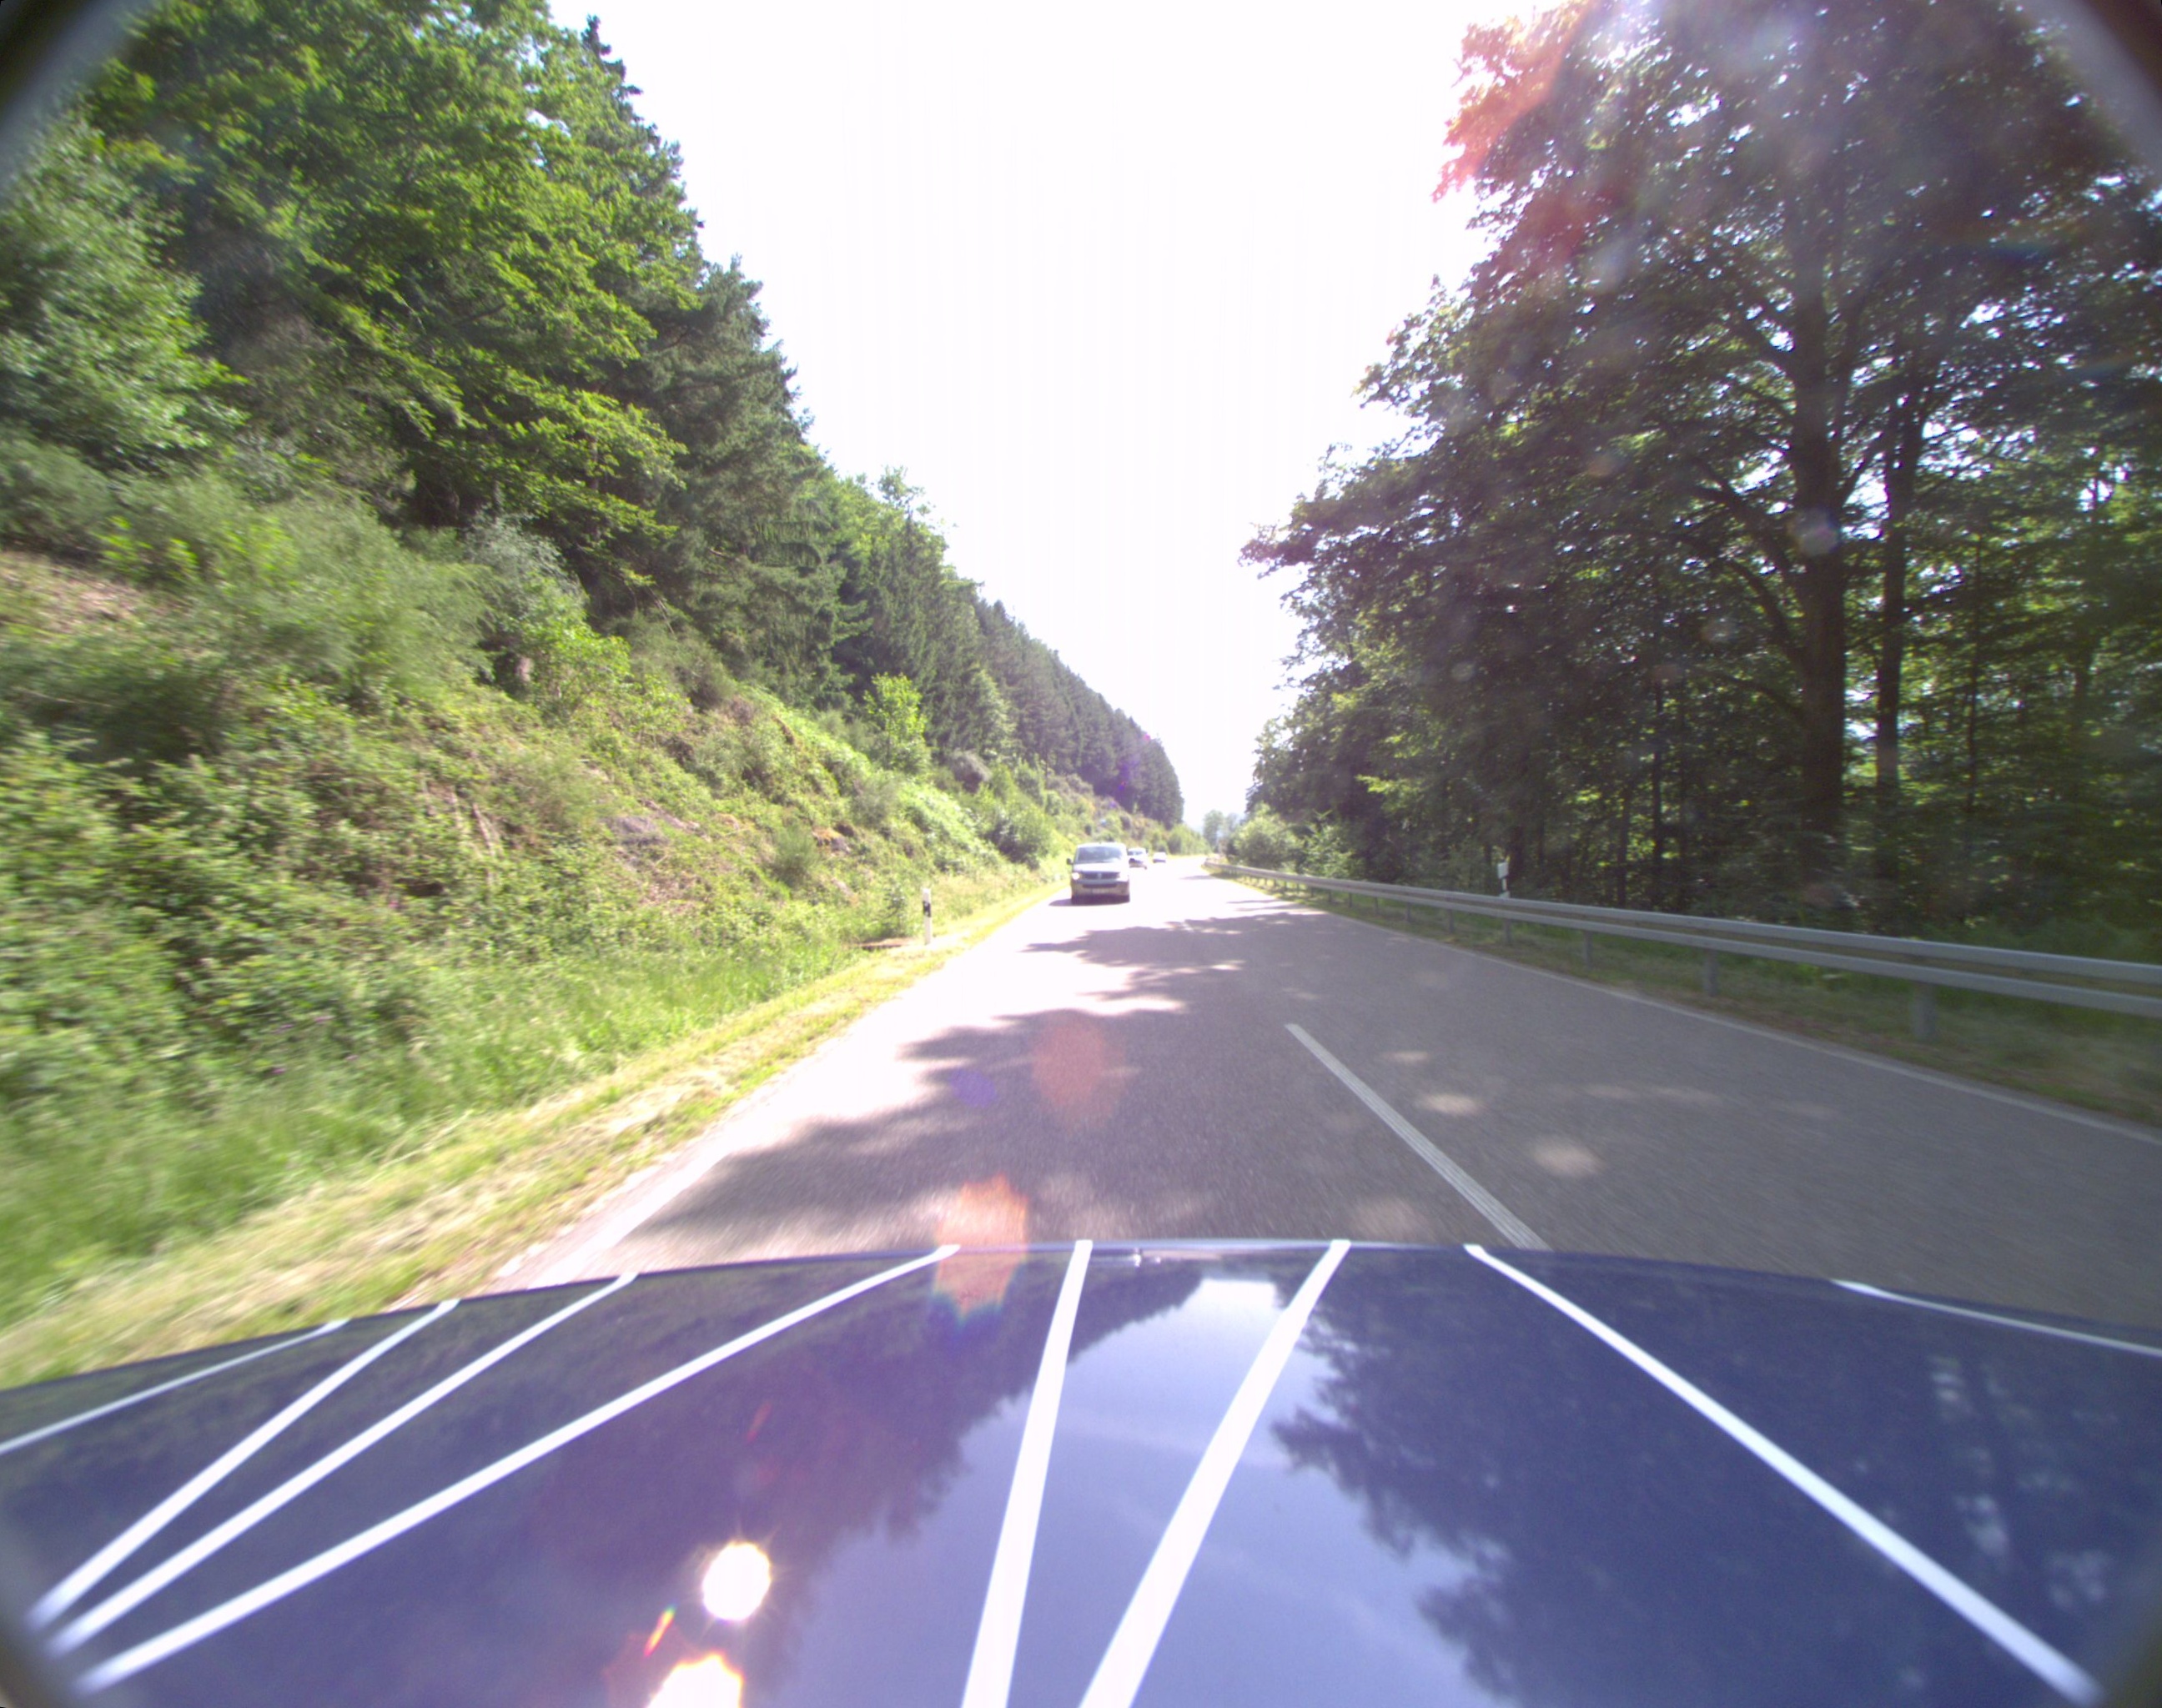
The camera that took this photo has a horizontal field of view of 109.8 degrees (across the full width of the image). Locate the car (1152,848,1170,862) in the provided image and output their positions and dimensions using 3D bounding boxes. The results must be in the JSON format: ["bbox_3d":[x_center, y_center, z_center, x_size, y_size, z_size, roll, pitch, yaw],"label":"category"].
[{"bbox_3d":[10.643,0.125,100.648,1.997,1.718,4.003,-1,0,10],"label":"car"}]

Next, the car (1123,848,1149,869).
[{"bbox_3d":[4.973,0.373,67.991,2.136,1.824,4.724,-1,0,6],"label":"car"}]

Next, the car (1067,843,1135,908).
[{"bbox_3d":[0.701,0.634,25.434,1.990,1.899,4.760,-2,1,2],"label":"car"}]
